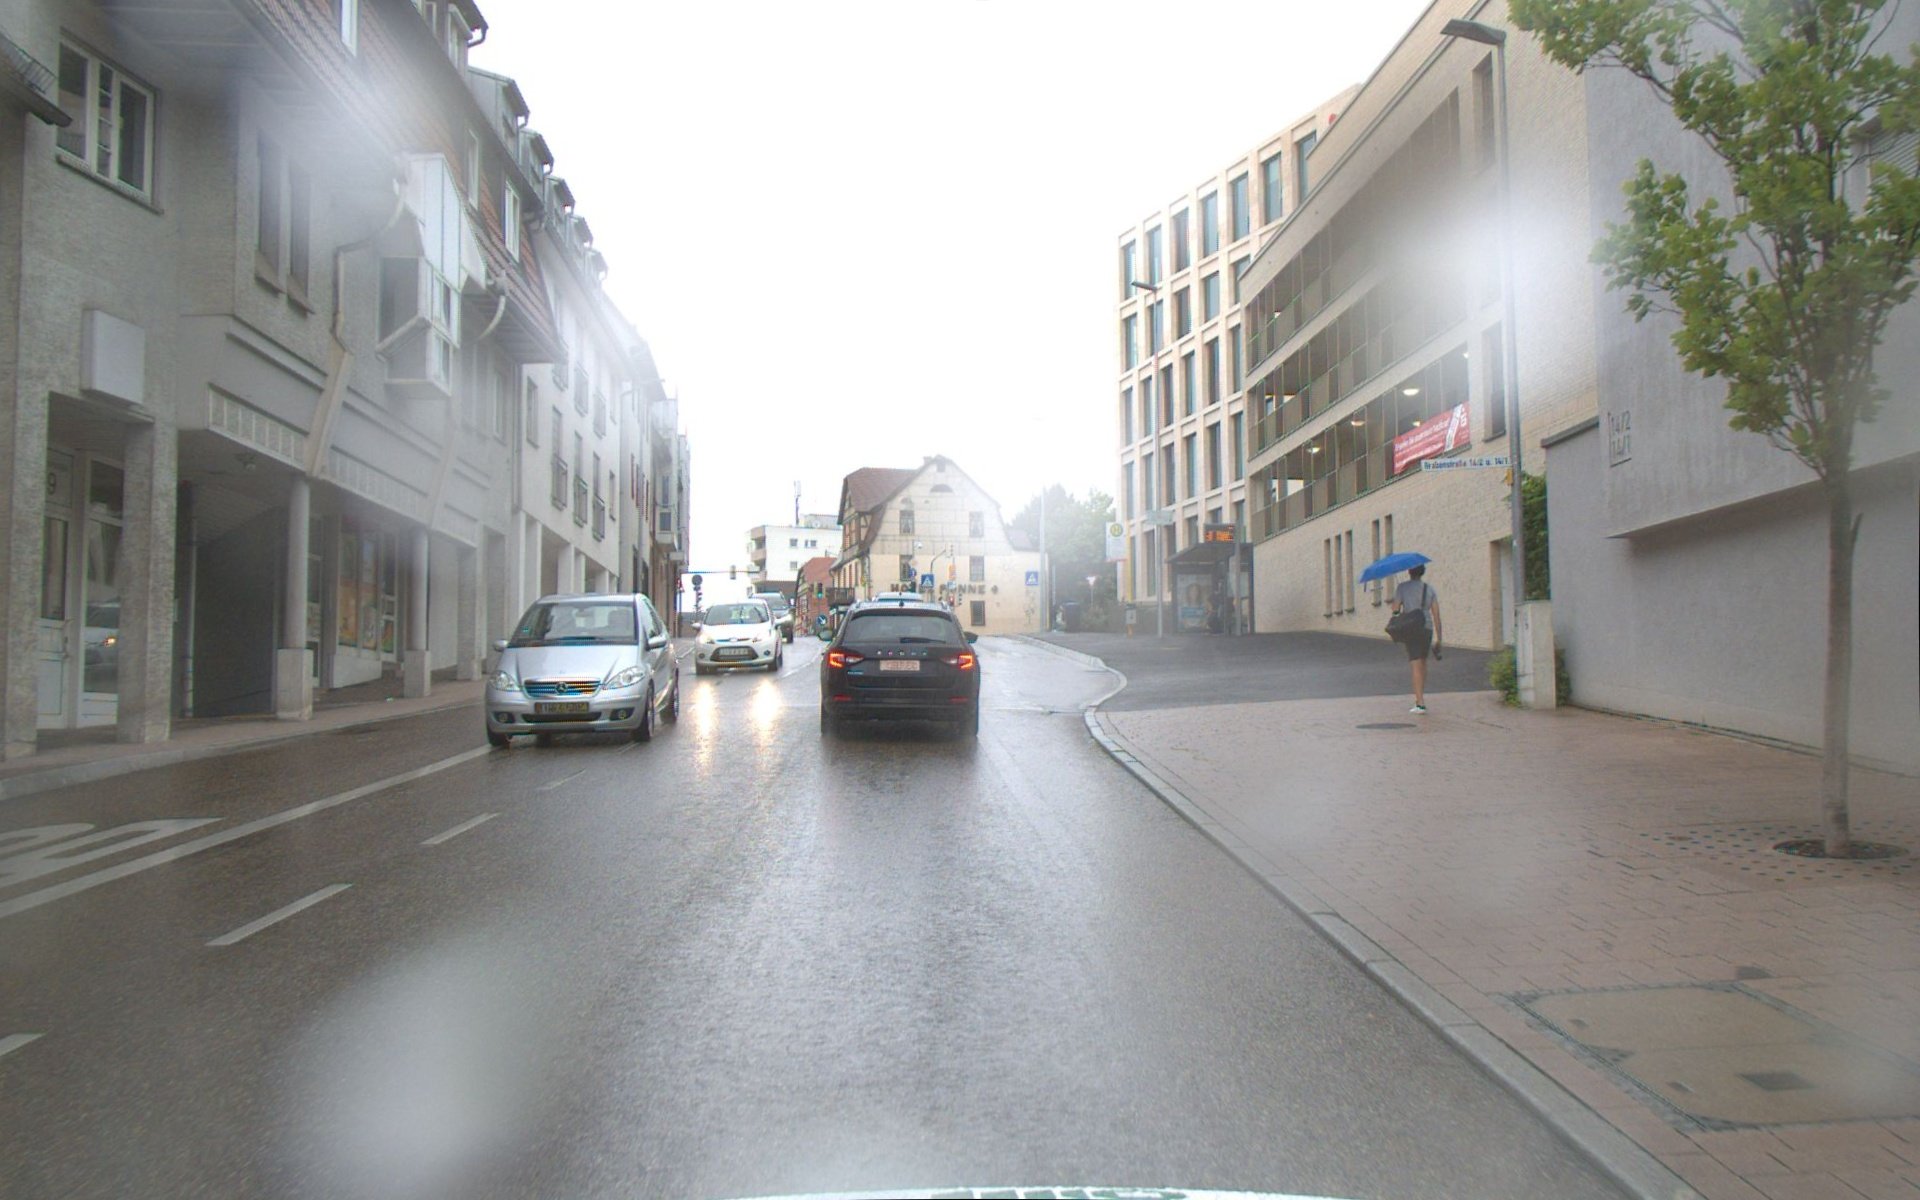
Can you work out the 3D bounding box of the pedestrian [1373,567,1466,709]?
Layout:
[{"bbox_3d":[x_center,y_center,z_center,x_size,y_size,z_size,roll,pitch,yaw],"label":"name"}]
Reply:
[{"bbox_3d":[5.333,0.432,19.244,0.720,1.569,1.038,-4,0,1],"label":"pedestrian"}]

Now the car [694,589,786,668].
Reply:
[{"bbox_3d":[-4.532,0.568,34.437,1.644,1.536,3.586,-1,0,-4],"label":"car"}]

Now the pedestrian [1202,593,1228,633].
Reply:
[{"bbox_3d":[7.807,0.407,50.602,0.658,1.182,0.635,-2,0,-2],"label":"pedestrian"}]

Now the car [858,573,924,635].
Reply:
[{"bbox_3d":[-1.862,0.098,43.777,1.644,1.536,3.586,-1,0,-4],"label":"car"}]

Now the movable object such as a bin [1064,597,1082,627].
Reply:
[{"bbox_3d":[4.197,0.451,61.522,0.583,1.081,0.578,-1,0,-2],"label":"movable object such as a bin"}]

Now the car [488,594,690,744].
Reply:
[{"bbox_3d":[-4.135,0.713,18.936,1.643,1.536,3.587,-1,0,-3],"label":"car"}]

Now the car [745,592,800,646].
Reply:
[{"bbox_3d":[-6.277,0.603,55.469,1.748,1.723,4.454,-1,0,-6],"label":"car"}]

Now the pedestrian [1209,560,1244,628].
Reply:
[{"bbox_3d":[7.900,-0.165,49.096,0.766,1.974,1.021,-2,0,-1],"label":"pedestrian"}]

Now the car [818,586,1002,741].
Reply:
[{"bbox_3d":[-0.672,0.658,19.433,1.906,1.594,4.413,0,0,-4],"label":"car"}]

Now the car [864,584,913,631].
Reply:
[{"bbox_3d":[-2.506,0.251,58.791,1.647,1.587,3.998,-1,0,-2],"label":"car"}]
